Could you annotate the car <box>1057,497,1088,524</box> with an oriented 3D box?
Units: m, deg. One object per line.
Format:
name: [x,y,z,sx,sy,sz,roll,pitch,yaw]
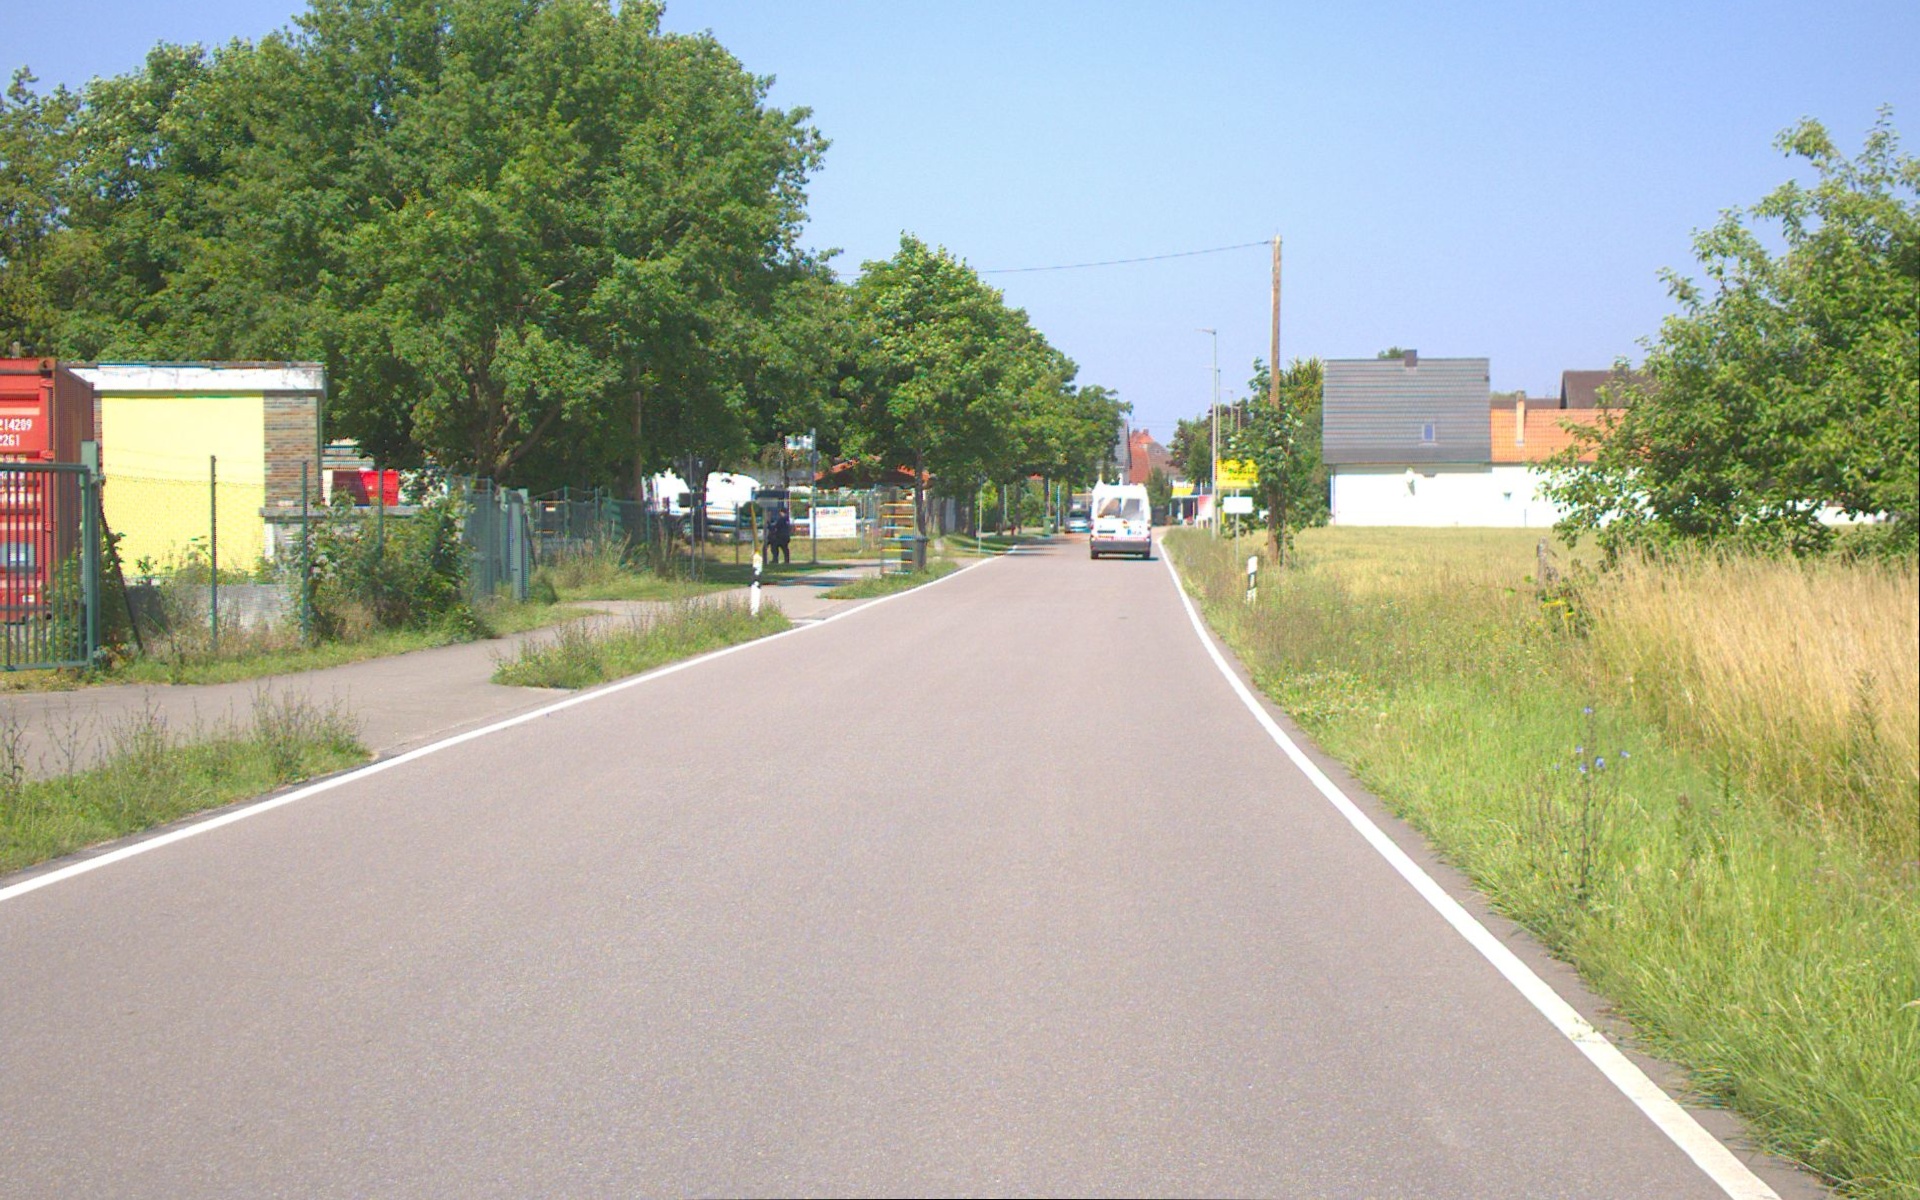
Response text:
car: [6.884,-5.469,209.869,1.771,1.585,4.000,0,2,3]

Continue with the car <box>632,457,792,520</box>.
car: [-9.016,-4.072,125.432,5.595,2.258,2.000,-2,2,-35]

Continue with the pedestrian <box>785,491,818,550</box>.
pedestrian: [-4.870,-2.454,105.730,0.721,1.796,0.709,0,2,29]

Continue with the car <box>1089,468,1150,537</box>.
car: [5.394,-3.286,115.781,1.994,2.258,4.726,0,2,3]

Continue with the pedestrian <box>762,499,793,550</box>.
pedestrian: [-5.589,-2.320,105.178,0.678,1.560,0.718,0,2,27]
